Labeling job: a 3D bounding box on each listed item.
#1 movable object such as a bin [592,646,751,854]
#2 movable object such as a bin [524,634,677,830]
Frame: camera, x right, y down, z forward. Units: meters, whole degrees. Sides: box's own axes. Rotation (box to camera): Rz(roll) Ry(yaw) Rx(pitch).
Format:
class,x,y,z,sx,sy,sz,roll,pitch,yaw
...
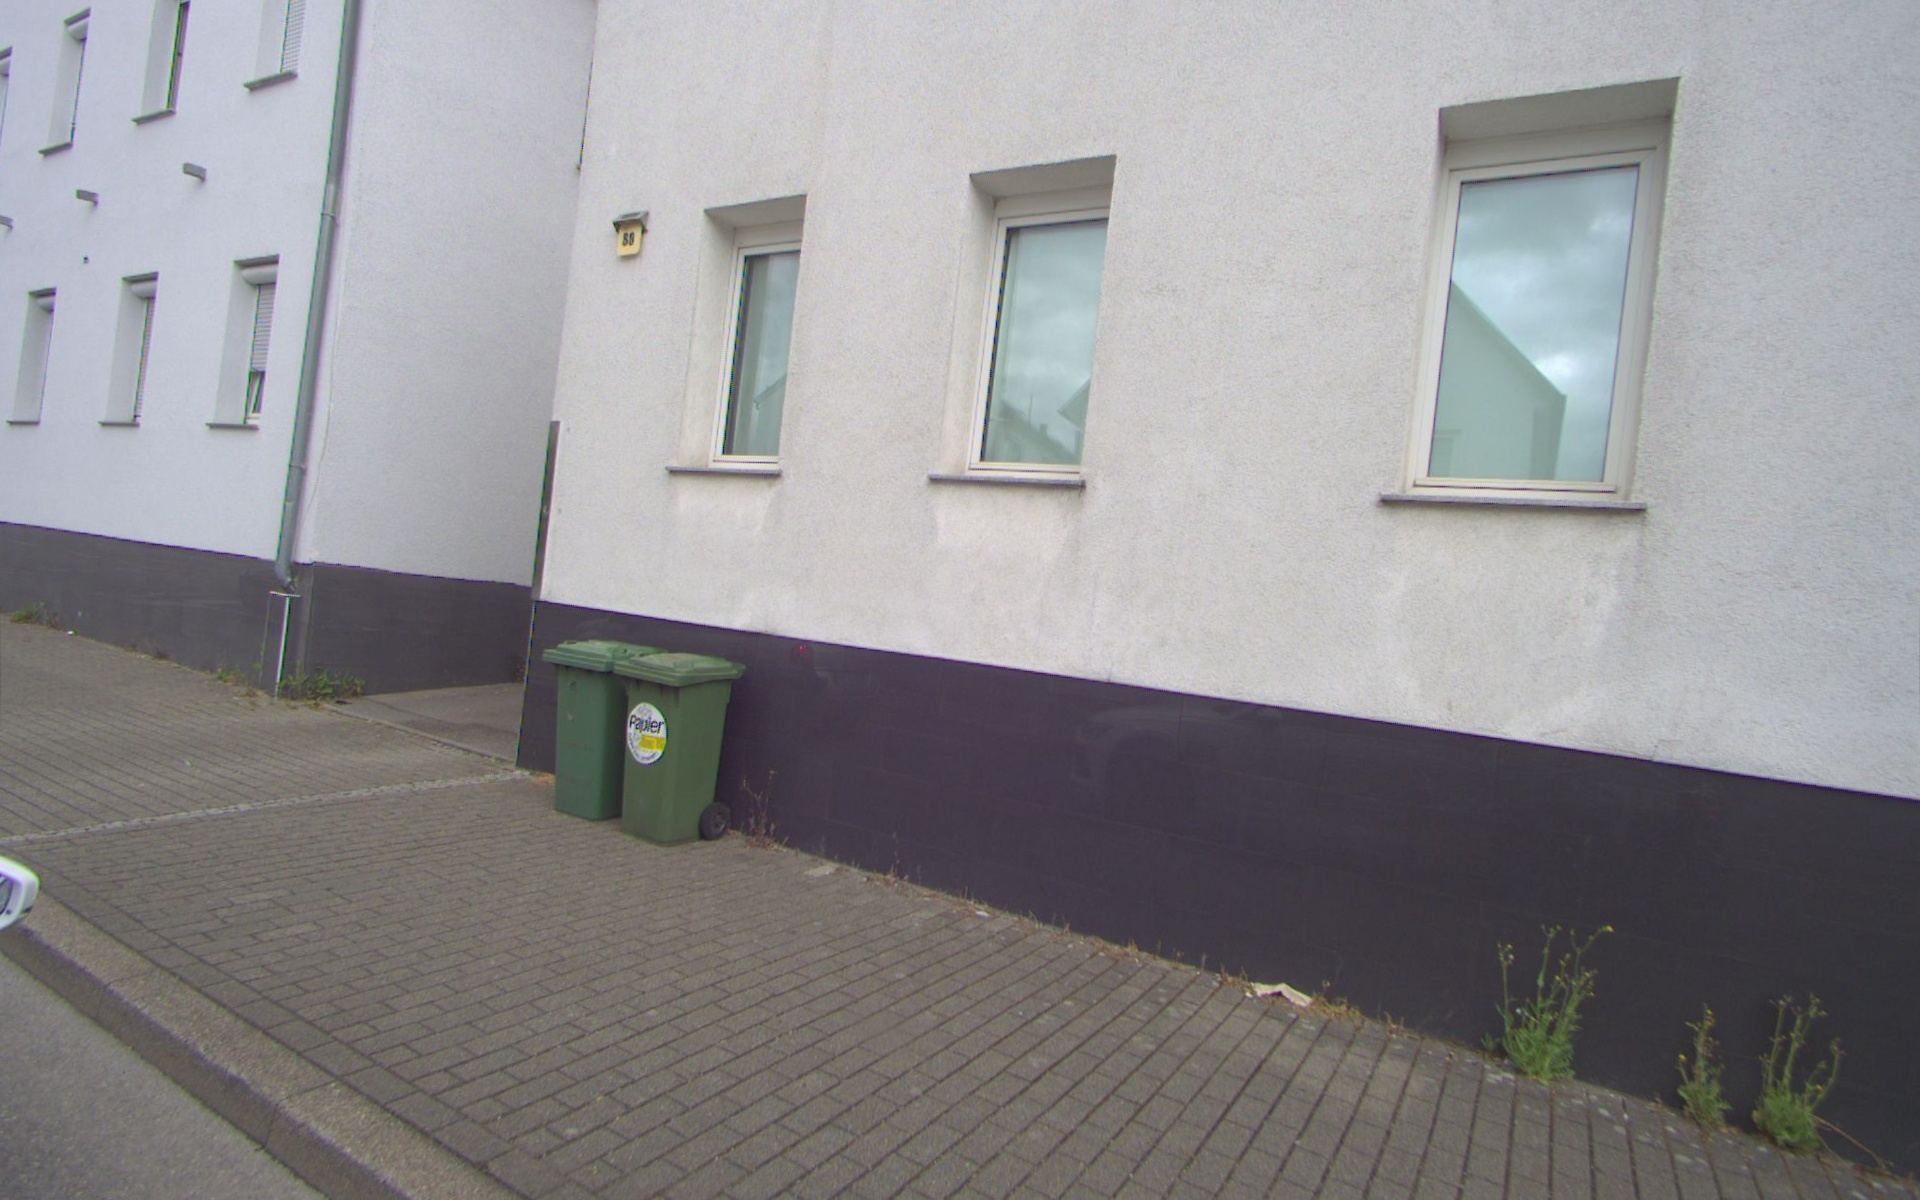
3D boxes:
class,x,y,z,sx,sy,sz,roll,pitch,yaw
movable object such as a bin,-1.488,0.741,5.208,0.479,0.953,0.540,7,2,32
movable object such as a bin,-1.946,0.688,5.465,0.479,0.953,0.540,7,2,32
